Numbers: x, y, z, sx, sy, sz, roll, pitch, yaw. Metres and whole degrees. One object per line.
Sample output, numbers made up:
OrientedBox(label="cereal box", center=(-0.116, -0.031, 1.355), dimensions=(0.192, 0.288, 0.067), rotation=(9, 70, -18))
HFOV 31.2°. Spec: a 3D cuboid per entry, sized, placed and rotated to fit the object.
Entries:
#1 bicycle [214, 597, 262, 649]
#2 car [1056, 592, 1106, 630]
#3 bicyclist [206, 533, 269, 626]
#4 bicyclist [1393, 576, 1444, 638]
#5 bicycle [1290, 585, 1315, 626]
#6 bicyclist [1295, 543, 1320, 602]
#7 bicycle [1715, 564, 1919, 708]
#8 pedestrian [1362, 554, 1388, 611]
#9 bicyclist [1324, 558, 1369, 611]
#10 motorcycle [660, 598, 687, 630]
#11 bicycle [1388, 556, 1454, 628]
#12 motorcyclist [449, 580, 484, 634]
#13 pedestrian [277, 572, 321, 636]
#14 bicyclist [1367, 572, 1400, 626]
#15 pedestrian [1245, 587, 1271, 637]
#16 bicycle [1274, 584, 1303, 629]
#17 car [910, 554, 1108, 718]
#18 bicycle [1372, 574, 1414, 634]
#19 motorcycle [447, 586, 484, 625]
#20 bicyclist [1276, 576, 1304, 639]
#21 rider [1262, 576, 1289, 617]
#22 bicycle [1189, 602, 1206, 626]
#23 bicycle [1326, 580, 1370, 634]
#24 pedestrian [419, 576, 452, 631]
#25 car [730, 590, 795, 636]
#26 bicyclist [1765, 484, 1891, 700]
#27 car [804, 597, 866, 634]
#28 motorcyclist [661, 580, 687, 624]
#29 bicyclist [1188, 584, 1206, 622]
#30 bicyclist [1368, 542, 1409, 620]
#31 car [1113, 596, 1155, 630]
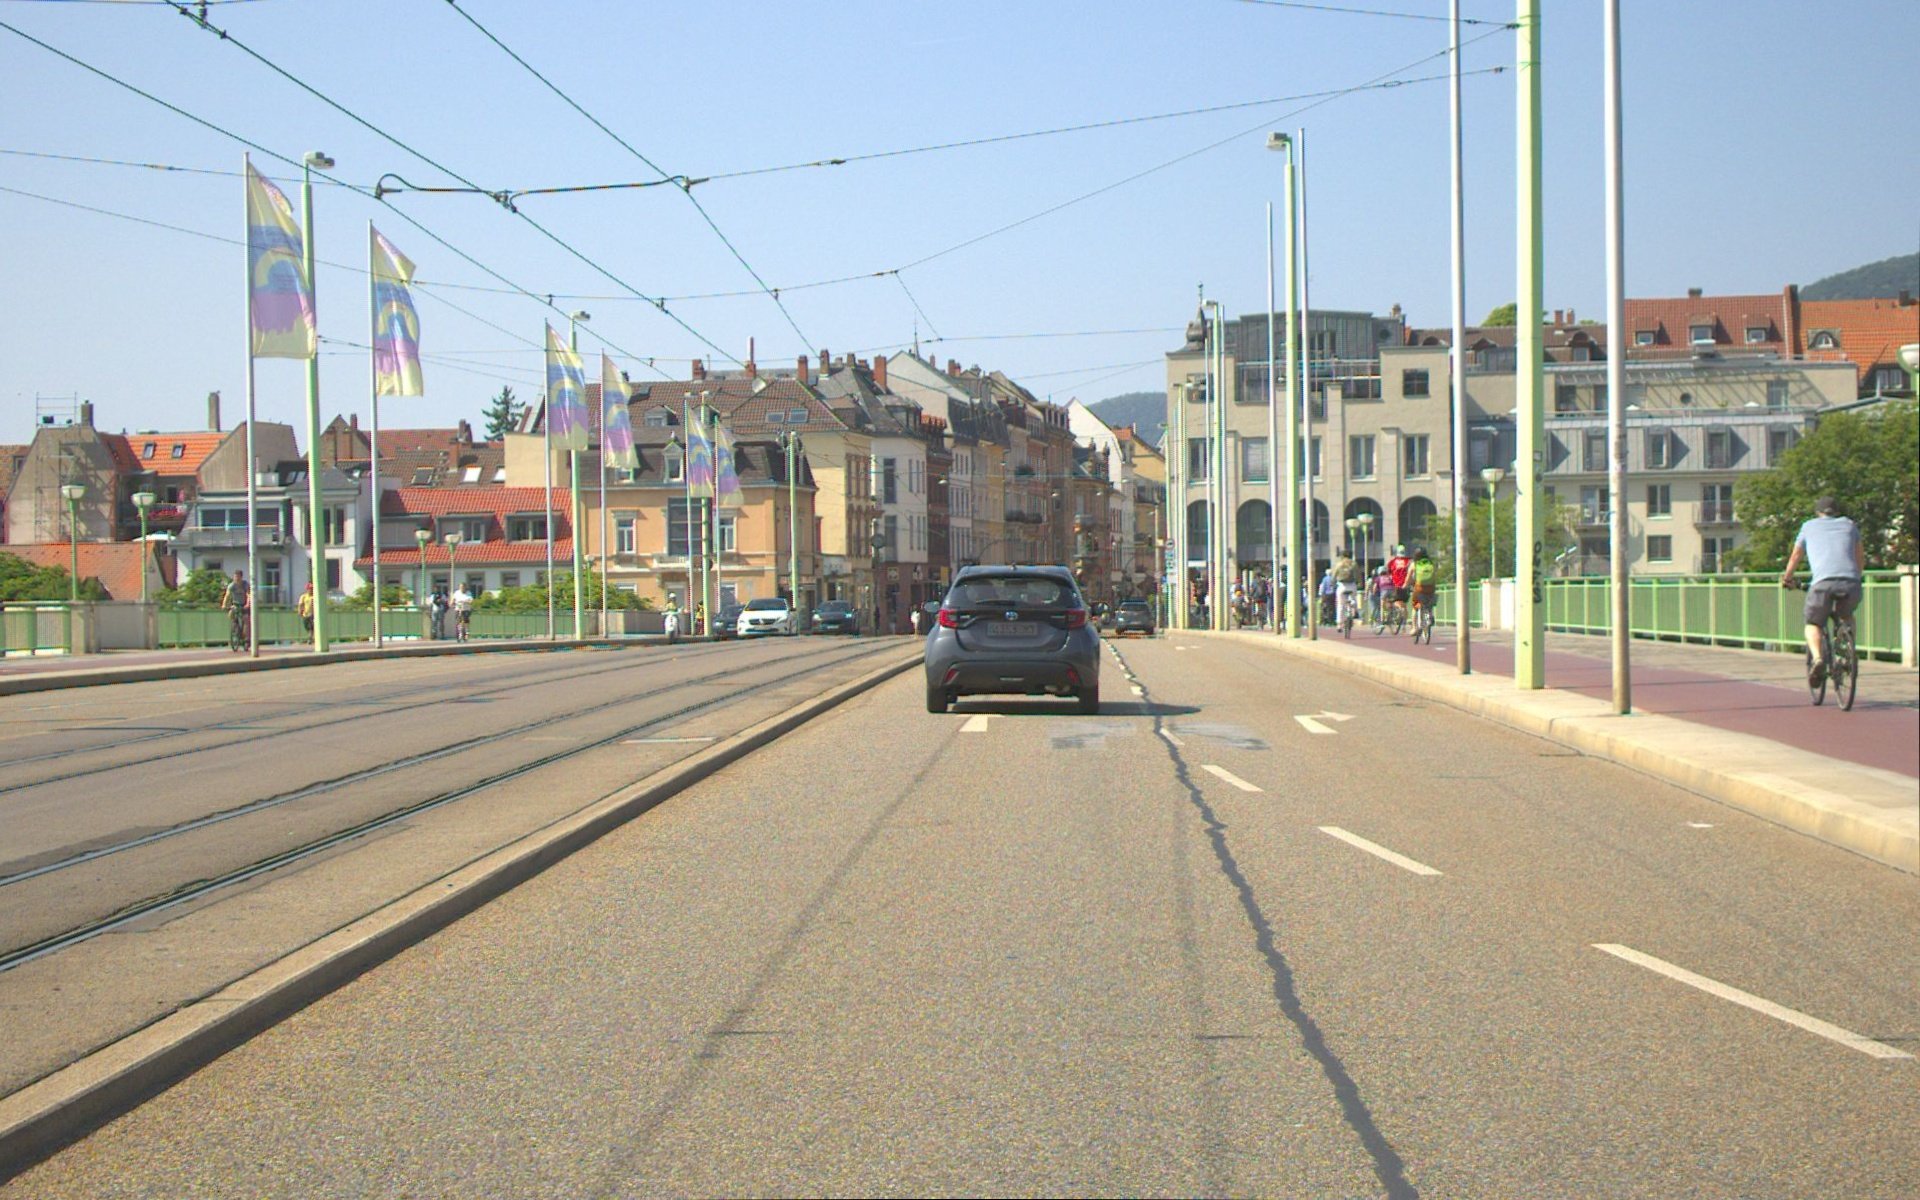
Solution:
OrientedBox(label="bicycle", center=(-15.462, 0.495, 73.643), dimensions=(0.588, 1.093, 2.113), rotation=(-1, -1, 0))
OrientedBox(label="car", center=(4.935, 0.450, 141.124), dimensions=(1.804, 1.464, 4.000), rotation=(-2, 0, -1))
OrientedBox(label="bicyclist", center=(-15.498, -0.442, 73.764), dimensions=(1.097, 1.954, 1.129), rotation=(-1, 1, 0))
OrientedBox(label="bicyclist", center=(7.814, 0.113, 58.605), dimensions=(0.666, 1.041, 0.980), rotation=(-1, 0, -4))
OrientedBox(label="bicycle", center=(9.774, 0.150, 98.234), dimensions=(0.526, 1.174, 2.029), rotation=(-1, 0, 1))
OrientedBox(label="bicyclist", center=(9.917, -0.785, 98.109), dimensions=(0.627, 1.684, 0.869), rotation=(-1, 0, 1))
OrientedBox(label="bicycle", center=(7.171, 0.261, 28.614), dimensions=(0.792, 1.092, 3.745), rotation=(-1, 1, -2))
OrientedBox(label="pedestrian", center=(11.697, -0.502, 96.856), dimensions=(0.599, 1.580, 0.867), rotation=(-1, 0, 0))
OrientedBox(label="bicyclist", center=(7.521, -0.300, 66.899), dimensions=(0.735, 1.027, 1.175), rotation=(-1, 0, 0))
OrientedBox(label="motorcycle", center=(-10.141, 0.500, 121.799), dimensions=(0.701, 1.106, 2.179), rotation=(-1, 0, 1))
OrientedBox(label="bicycle", center=(7.834, -0.127, 58.451), dimensions=(0.695, 1.189, 2.079), rotation=(-1, 0, -3))
OrientedBox(label="motorcyclist", center=(-14.244, 0.198, 99.240), dimensions=(0.800, 1.544, 1.069), rotation=(-1, 0, 1))
OrientedBox(label="pedestrian", center=(-17.447, 0.103, 90.807), dimensions=(0.899, 1.652, 1.028), rotation=(0, 0, 4))
OrientedBox(label="bicyclist", center=(8.734, -0.019, 70.891), dimensions=(0.599, 1.098, 0.852), rotation=(-1, 0, 12))
OrientedBox(label="pedestrian", center=(10.257, 0.406, 118.474), dimensions=(0.834, 1.684, 0.869), rotation=(-1, 0, 2))
OrientedBox(label="bicycle", center=(8.793, 0.168, 92.011), dimensions=(0.593, 1.174, 1.939), rotation=(-1, 0, 1))
OrientedBox(label="car", center=(0.464, 0.322, 35.367), dimensions=(1.910, 1.535, 4.000), rotation=(-1, 1, 0))
OrientedBox(label="bicycle", center=(9.215, 0.079, 73.243), dimensions=(0.618, 1.266, 2.216), rotation=(-1, 0, 0))
OrientedBox(label="motorcycle", center=(-14.269, 0.150, 99.231), dimensions=(0.701, 1.106, 2.179), rotation=(-1, 0, 1))
OrientedBox(label="bicyclist", center=(8.820, 0.208, 91.991), dimensions=(0.656, 1.670, 0.869), rotation=(-1, 0, 2))
OrientedBox(label="rider", center=(11.710, -0.139, 127.650), dimensions=(0.889, 1.499, 0.841), rotation=(-1, 0, 1))
OrientedBox(label="bicycle", center=(9.966, 0.597, 144.351), dimensions=(0.653, 0.978, 2.178), rotation=(-2, -1, 5))
OrientedBox(label="bicycle", center=(7.532, 0.132, 66.841), dimensions=(0.618, 1.034, 2.051), rotation=(-1, 0, 0))
OrientedBox(label="pedestrian", center=(-16.745, 0.113, 109.702), dimensions=(0.830, 1.716, 1.094), rotation=(-1, 0, 2))
OrientedBox(label="car", center=(-6.760, 0.426, 117.324), dimensions=(1.993, 1.404, 4.548), rotation=(-2, 1, -5))
OrientedBox(label="bicyclist", center=(7.168, -0.073, 28.425), dimensions=(0.673, 1.738, 1.150), rotation=(-1, 1, -2))
OrientedBox(label="car", center=(-5.587, 0.682, 154.448), dimensions=(1.994, 1.594, 4.336), rotation=(-1, 0, 9))
OrientedBox(label="motorcyclist", center=(-10.145, 0.064, 121.842), dimensions=(0.827, 1.568, 0.832), rotation=(-1, 0, 1))
OrientedBox(label="bicyclist", center=(9.956, 0.146, 144.421), dimensions=(0.653, 1.561, 1.337), rotation=(-2, -1, 5))
OrientedBox(label="bicyclist", center=(9.141, -0.403, 73.349), dimensions=(0.735, 1.630, 0.867), rotation=(-1, 0, 0))
OrientedBox(label="car", center=(8.117, 0.597, 159.726), dimensions=(1.804, 1.464, 3.999), rotation=(-2, 0, 4))
